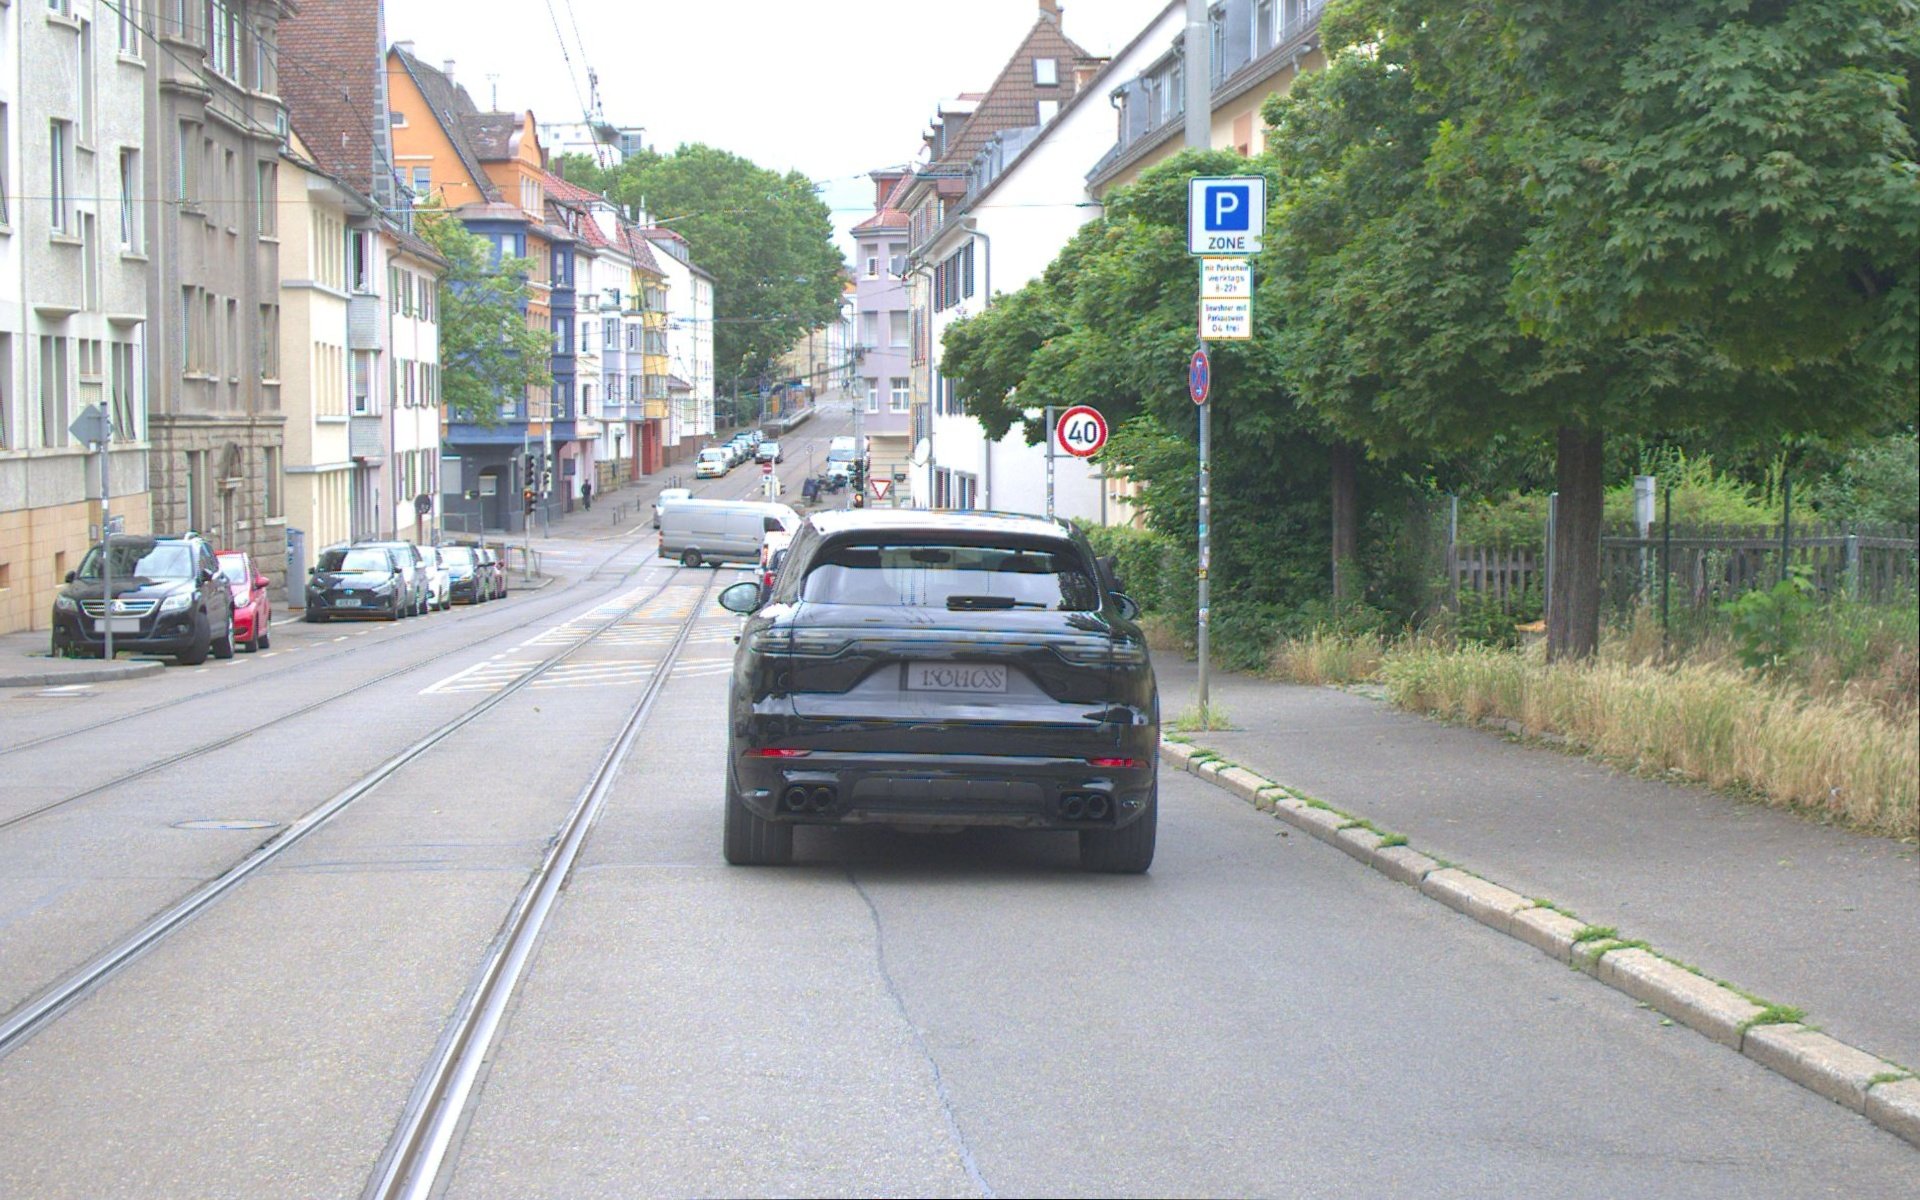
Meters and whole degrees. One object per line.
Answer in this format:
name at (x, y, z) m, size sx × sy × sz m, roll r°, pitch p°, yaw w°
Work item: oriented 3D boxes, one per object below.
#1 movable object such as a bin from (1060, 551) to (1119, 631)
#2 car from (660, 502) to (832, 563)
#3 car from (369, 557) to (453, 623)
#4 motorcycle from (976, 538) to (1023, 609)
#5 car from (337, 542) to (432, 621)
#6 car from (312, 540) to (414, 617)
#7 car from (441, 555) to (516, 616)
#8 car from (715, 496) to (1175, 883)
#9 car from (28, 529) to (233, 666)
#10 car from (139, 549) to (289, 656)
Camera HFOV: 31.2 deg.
movable object such as a bin at (1.984, -0.139, 52.874) m, size 0.792 × 1.214 × 0.789 m, roll 0°, pitch 0°, yaw -7°
car at (-8.171, -2.570, 131.313) m, size 6.288 × 2.282 × 2.199 m, roll 0°, pitch 1°, yaw 25°
car at (-12.628, -0.220, 79.191) m, size 1.620 × 1.458 × 3.685 m, roll -1°, pitch 0°, yaw -5°
motorcycle at (0.808, -0.555, 71.844) m, size 0.838 × 1.451 × 2.553 m, roll 0°, pitch 1°, yaw -3°
car at (-12.223, -0.379, 73.184) m, size 1.620 × 1.599 × 4.352 m, roll -1°, pitch 0°, yaw -5°
car at (-11.845, -0.408, 68.369) m, size 1.620 × 1.458 × 4.033 m, roll -1°, pitch 0°, yaw -5°
car at (-12.260, -0.362, 87.675) m, size 1.620 × 1.468 × 4.556 m, roll -1°, pitch 0°, yaw -5°
car at (-0.193, 0.364, 16.899) m, size 1.993 × 1.670 × 4.001 m, roll 0°, pitch 1°, yaw -4°
car at (-10.567, -0.036, 44.078) m, size 1.867 × 1.640 × 4.403 m, roll -1°, pitch 0°, yaw -5°
car at (-10.758, 0.031, 49.743) m, size 1.620 × 1.458 × 3.746 m, roll -1°, pitch 0°, yaw -5°
